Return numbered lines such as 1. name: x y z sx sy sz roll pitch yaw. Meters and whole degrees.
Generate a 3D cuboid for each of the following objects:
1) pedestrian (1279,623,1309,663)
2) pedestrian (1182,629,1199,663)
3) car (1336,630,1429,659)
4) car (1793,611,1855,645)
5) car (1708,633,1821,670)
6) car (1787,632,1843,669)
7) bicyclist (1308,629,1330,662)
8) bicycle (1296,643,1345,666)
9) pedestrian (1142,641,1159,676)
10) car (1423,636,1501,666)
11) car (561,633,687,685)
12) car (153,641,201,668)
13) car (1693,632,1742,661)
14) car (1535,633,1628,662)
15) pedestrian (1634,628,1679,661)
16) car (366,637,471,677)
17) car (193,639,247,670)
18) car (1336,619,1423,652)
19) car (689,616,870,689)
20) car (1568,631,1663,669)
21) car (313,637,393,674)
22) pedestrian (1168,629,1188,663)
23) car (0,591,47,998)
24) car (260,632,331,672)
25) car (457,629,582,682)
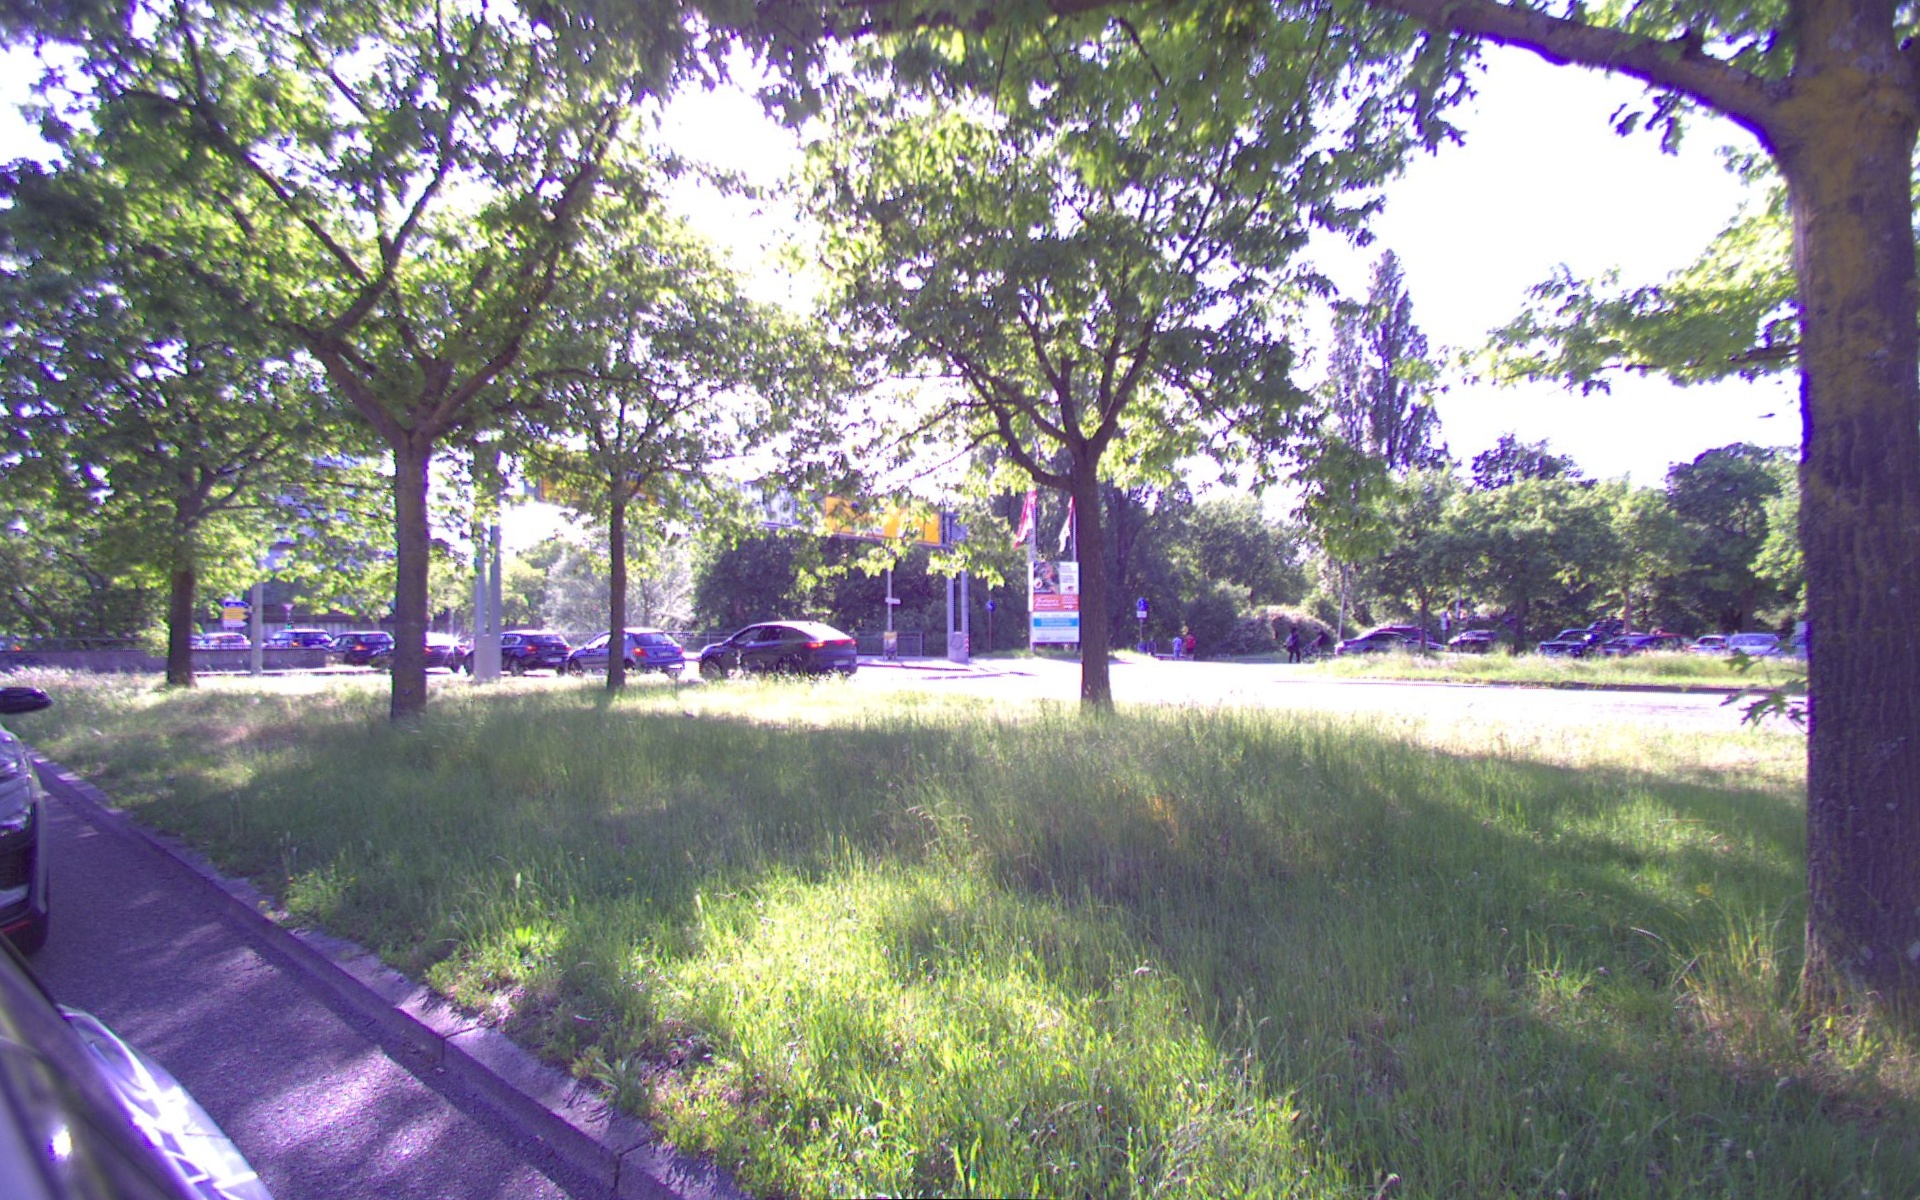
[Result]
1. pedestrian: 13.800 1.771 41.807 0.976 1.642 0.913 -1 -2 7
2. pedestrian: 12.867 2.557 56.407 0.742 1.802 0.905 -1 0 2
3. car: 21.135 2.211 50.756 3.957 1.385 1.826 -1 -2 11
4. car: 43.893 1.425 51.395 3.694 1.681 1.895 1 -2 -41
5. car: 26.891 1.705 33.909 2.783 1.165 1.327 -1 -2 32
6. car: 35.618 2.074 42.217 1.617 1.430 3.038 -2 -2 38
7. bicyclist: 16.464 2.092 46.438 0.839 1.500 0.678 -1 -2 13
8. bicycle: 16.527 2.495 46.384 2.016 1.060 0.684 -1 -2 13
9. pedestrian: 11.579 3.548 61.437 0.847 2.060 0.863 -1 0 1
10. car: 31.455 3.206 63.537 3.961 1.807 1.991 -1 -2 14
11. car: -9.568 1.650 28.744 3.601 1.374 1.543 -2 -2 35
12. car: -39.990 2.786 51.664 2.761 1.270 1.186 -4 -3 35
13. car: 32.976 1.993 44.112 1.616 1.187 3.040 -2 -2 35
14. car: 23.359 1.782 38.117 2.774 1.072 1.324 -1 -2 23
15. pedestrian: 27.846 1.780 40.477 1.097 1.285 1.144 -1 -2 14
16. car: -19.219 1.993 35.859 4.058 1.323 1.604 -2 -2 35
17. car: -35.056 2.592 47.926 2.875 1.350 1.214 -5 -4 34
18. car: 22.426 1.906 54.286 3.959 1.678 1.992 -1 -2 13
19. car: -4.504 1.250 24.963 4.450 1.660 1.810 -2 -2 35
20. car: 23.539 1.793 36.434 2.783 1.315 1.327 -2 -2 32
21. car: -23.412 2.131 39.030 3.195 1.349 1.464 -3 -2 35
22. pedestrian: 12.195 2.577 56.656 0.845 1.881 0.904 -1 0 -8
23. car: -5.628 0.772 4.603 3.986 1.544 1.730 -2 -2 41
24. car: -28.141 2.213 42.849 3.195 1.571 1.433 -4 -3 34
25. car: -14.162 1.733 32.455 4.215 1.562 1.853 -2 -2 37
